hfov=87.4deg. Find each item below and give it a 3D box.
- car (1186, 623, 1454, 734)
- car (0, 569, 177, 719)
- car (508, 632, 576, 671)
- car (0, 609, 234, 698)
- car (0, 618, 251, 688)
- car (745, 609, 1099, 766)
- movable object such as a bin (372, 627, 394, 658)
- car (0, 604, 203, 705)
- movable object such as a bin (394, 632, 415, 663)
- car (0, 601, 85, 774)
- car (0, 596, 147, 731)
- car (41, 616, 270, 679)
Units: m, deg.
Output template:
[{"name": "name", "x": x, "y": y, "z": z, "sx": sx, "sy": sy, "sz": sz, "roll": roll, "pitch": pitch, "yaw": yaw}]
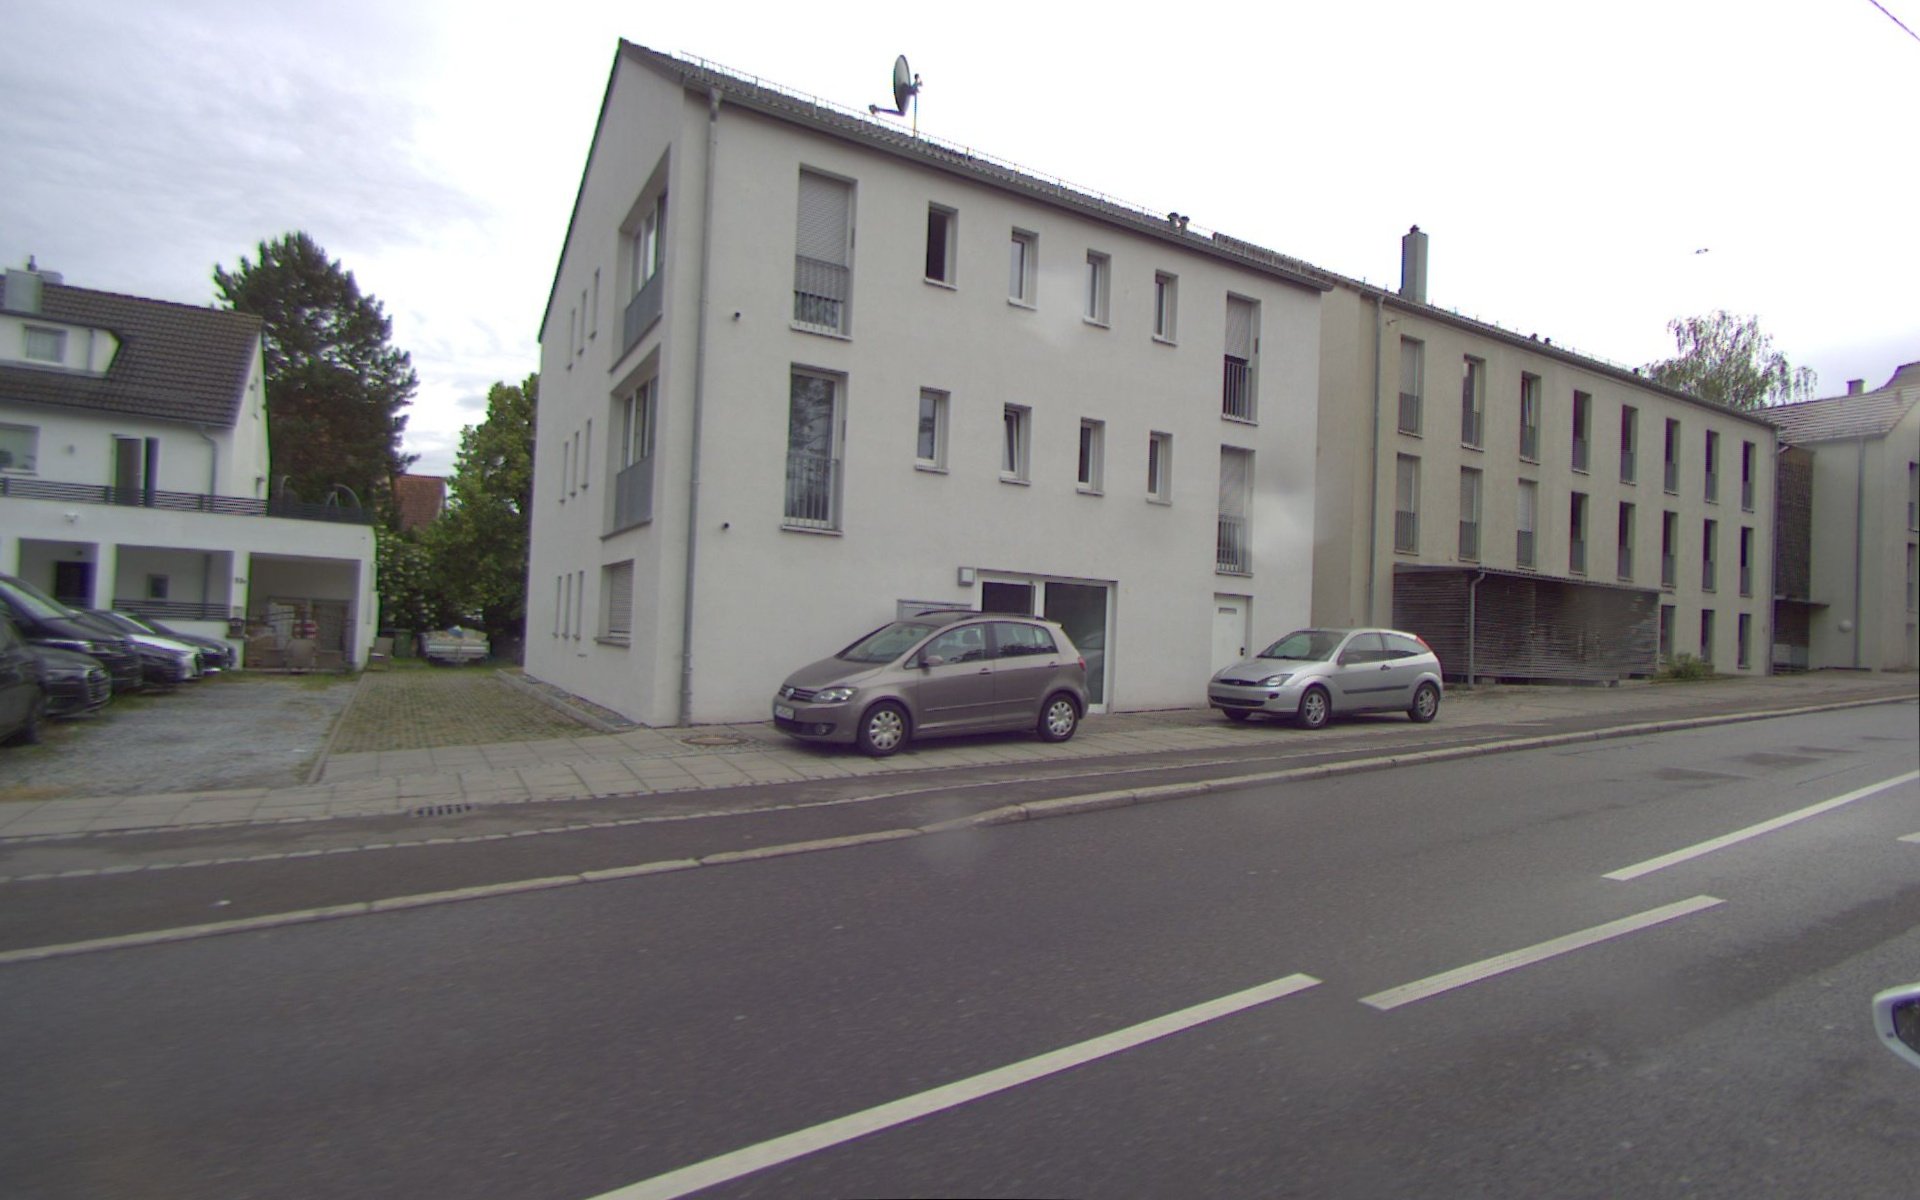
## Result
[{"name": "car", "x": 5.695, "y": 1.154, "z": 15.760, "sx": 4.129, "sy": 1.528, "sz": 1.737, "roll": 1, "pitch": -1, "yaw": -30}, {"name": "car", "x": -14.173, "y": 0.598, "z": 14.119, "sx": 4.709, "sy": 2.040, "sz": 1.984, "roll": 1, "pitch": -2, "yaw": -31}, {"name": "car", "x": -15.107, "y": 1.821, "z": 36.219, "sx": 1.821, "sy": 1.256, "sz": 3.969, "roll": 1, "pitch": -1, "yaw": -29}, {"name": "car", "x": -16.040, "y": 0.969, "z": 18.774, "sx": 3.829, "sy": 1.555, "sz": 1.652, "roll": 1, "pitch": -2, "yaw": -30}, {"name": "car", "x": -17.220, "y": 1.075, "z": 20.915, "sx": 3.829, "sy": 1.340, "sz": 1.652, "roll": 1, "pitch": -2, "yaw": -30}, {"name": "car", "x": -0.396, "y": 0.957, "z": 12.363, "sx": 4.042, "sy": 1.573, "sz": 1.734, "roll": 1, "pitch": 1, "yaw": -35}, {"name": "movable object such as a bin", "x": -20.722, "y": 1.533, "z": 36.070, "sx": 0.626, "sy": 1.057, "sz": 0.803, "roll": 2, "pitch": 0, "yaw": -29}, {"name": "car", "x": -14.889, "y": 0.864, "z": 16.383, "sx": 3.829, "sy": 1.555, "sz": 1.652, "roll": 1, "pitch": -2, "yaw": -30}, {"name": "movable object such as a bin", "x": -19.946, "y": 1.712, "z": 36.046, "sx": 0.626, "sy": 1.057, "sz": 0.803, "roll": 2, "pitch": 0, "yaw": -29}, {"name": "car", "x": -9.647, "y": 0.796, "z": 8.960, "sx": 1.872, "sy": 1.483, "sz": 4.108, "roll": 1, "pitch": 1, "yaw": -28}, {"name": "car", "x": -12.473, "y": 0.744, "z": 12.055, "sx": 3.953, "sy": 1.583, "sz": 1.773, "roll": 1, "pitch": -2, "yaw": -30}, {"name": "car", "x": -18.187, "y": 1.056, "z": 22.944, "sx": 3.829, "sy": 1.340, "sz": 1.652, "roll": 1, "pitch": -2, "yaw": -30}]
